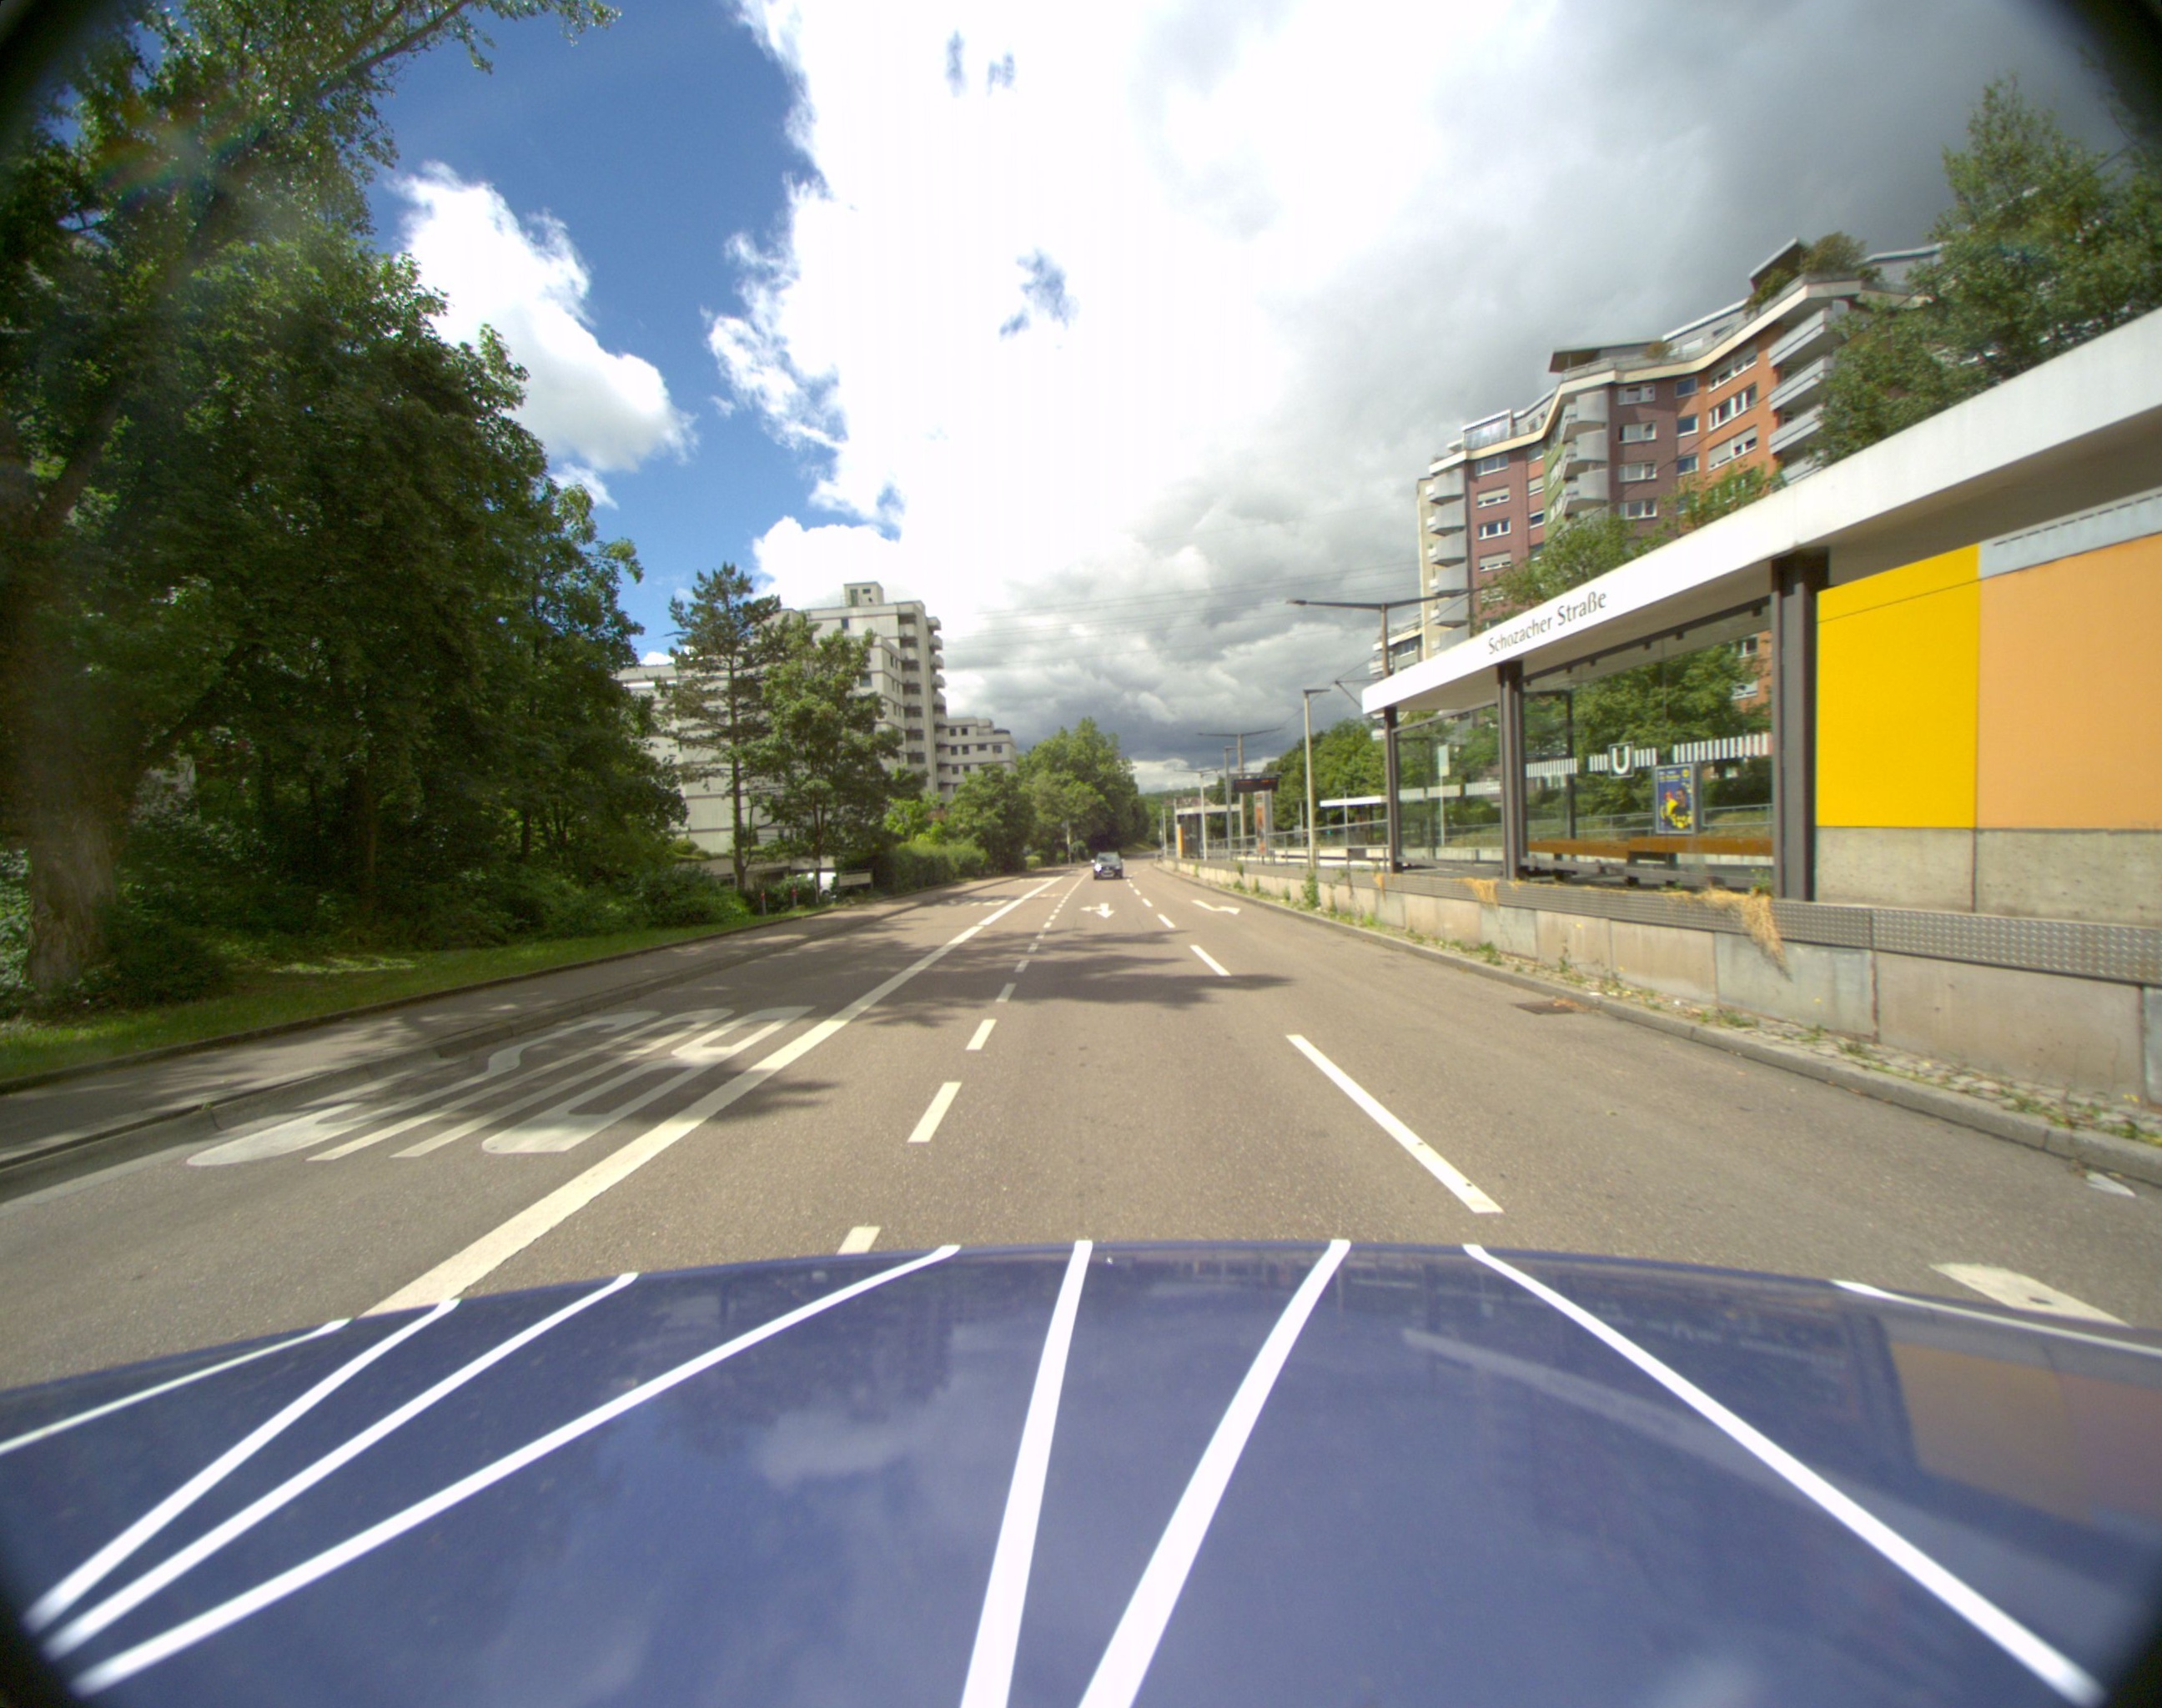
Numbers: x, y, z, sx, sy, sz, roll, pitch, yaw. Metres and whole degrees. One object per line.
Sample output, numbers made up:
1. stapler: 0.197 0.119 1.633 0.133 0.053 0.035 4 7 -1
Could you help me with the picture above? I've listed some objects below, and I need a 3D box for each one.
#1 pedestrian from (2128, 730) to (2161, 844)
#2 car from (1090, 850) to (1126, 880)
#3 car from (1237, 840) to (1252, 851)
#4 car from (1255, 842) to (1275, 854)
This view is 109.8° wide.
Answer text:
1. pedestrian: 15.815 -0.979 11.107 0.522 1.635 0.563 -3 1 -31
2. car: 1.533 0.579 42.144 1.736 1.477 3.817 -2 1 5
3. car: 24.230 -1.242 112.795 1.658 1.504 3.738 -2 1 5
4. car: 23.300 -0.793 96.195 1.658 1.410 4.000 -2 1 1
